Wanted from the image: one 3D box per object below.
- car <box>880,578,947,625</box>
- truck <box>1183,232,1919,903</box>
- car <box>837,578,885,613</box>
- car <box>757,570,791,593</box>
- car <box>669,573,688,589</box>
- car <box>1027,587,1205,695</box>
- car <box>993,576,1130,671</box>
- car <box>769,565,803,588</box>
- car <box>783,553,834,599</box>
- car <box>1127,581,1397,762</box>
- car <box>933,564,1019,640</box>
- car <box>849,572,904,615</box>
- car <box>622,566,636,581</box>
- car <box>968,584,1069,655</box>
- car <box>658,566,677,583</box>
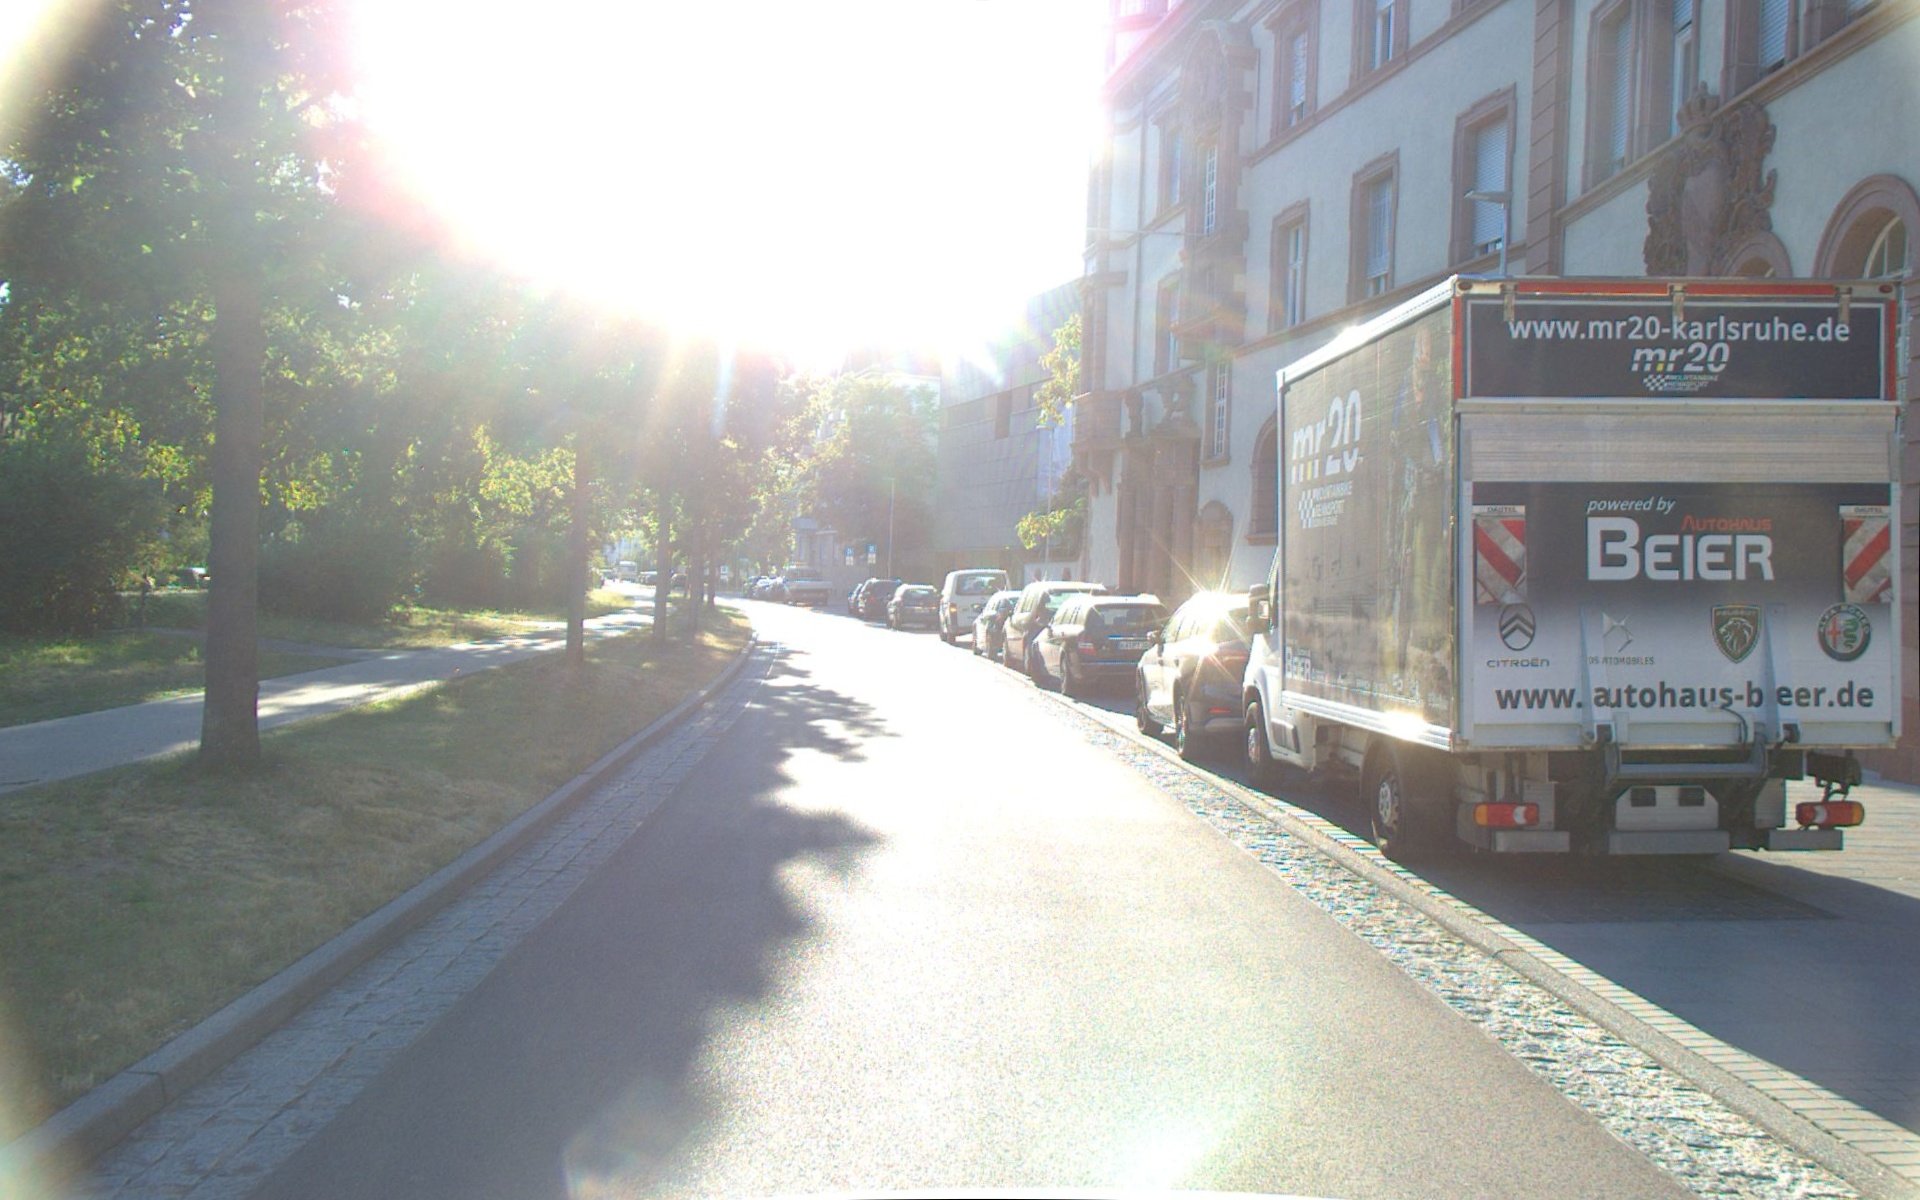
[{"bbox_3d":[-1.681,0.016,58.518,1.716,1.492,4.468,3,1,-10],"label":"car"},{"bbox_3d":[3.382,-0.180,10.972,2.572,3.175,6.082,0,1,-4],"label":"truck"},{"bbox_3d":[-4.442,-0.227,73.905,1.693,1.446,3.898,1,1,-10],"label":"car"},{"bbox_3d":[-12.679,-1.287,112.684,1.662,1.465,4.088,1,1,-15],"label":"car"},{"bbox_3d":[-28.907,-1.977,169.667,1.761,1.536,3.990,3,0,-11],"label":"car"},{"bbox_3d":[2.284,0.562,25.413,1.836,1.461,4.516,1,1,-6],"label":"car"},{"bbox_3d":[1.815,0.382,30.881,1.781,1.630,4.186,1,1,-7],"label":"car"},{"bbox_3d":[-11.396,-1.550,107.973,1.662,1.465,3.537,1,1,-15],"label":"car"},{"bbox_3d":[-8.931,-1.438,97.086,2.173,2.574,6.127,0,1,-13],"label":"car"},{"bbox_3d":[2.855,0.601,16.650,1.733,1.557,4.570,1,1,-2],"label":"car"},{"bbox_3d":[0.389,0.031,46.647,1.955,2.000,4.844,-1,1,-5],"label":"car"},{"bbox_3d":[-3.494,-0.307,68.638,1.693,1.698,4.103,1,1,-11],"label":"car"},{"bbox_3d":[-46.670,-3.719,233.286,1.763,2.033,3.987,3,0,-13],"label":"car"},{"bbox_3d":[1.218,0.390,36.234,1.646,1.427,4.195,1,1,-6],"label":"car"},{"bbox_3d":[-32.382,-2.854,183.163,1.763,1.754,3.987,3,0,-13],"label":"car"}]
